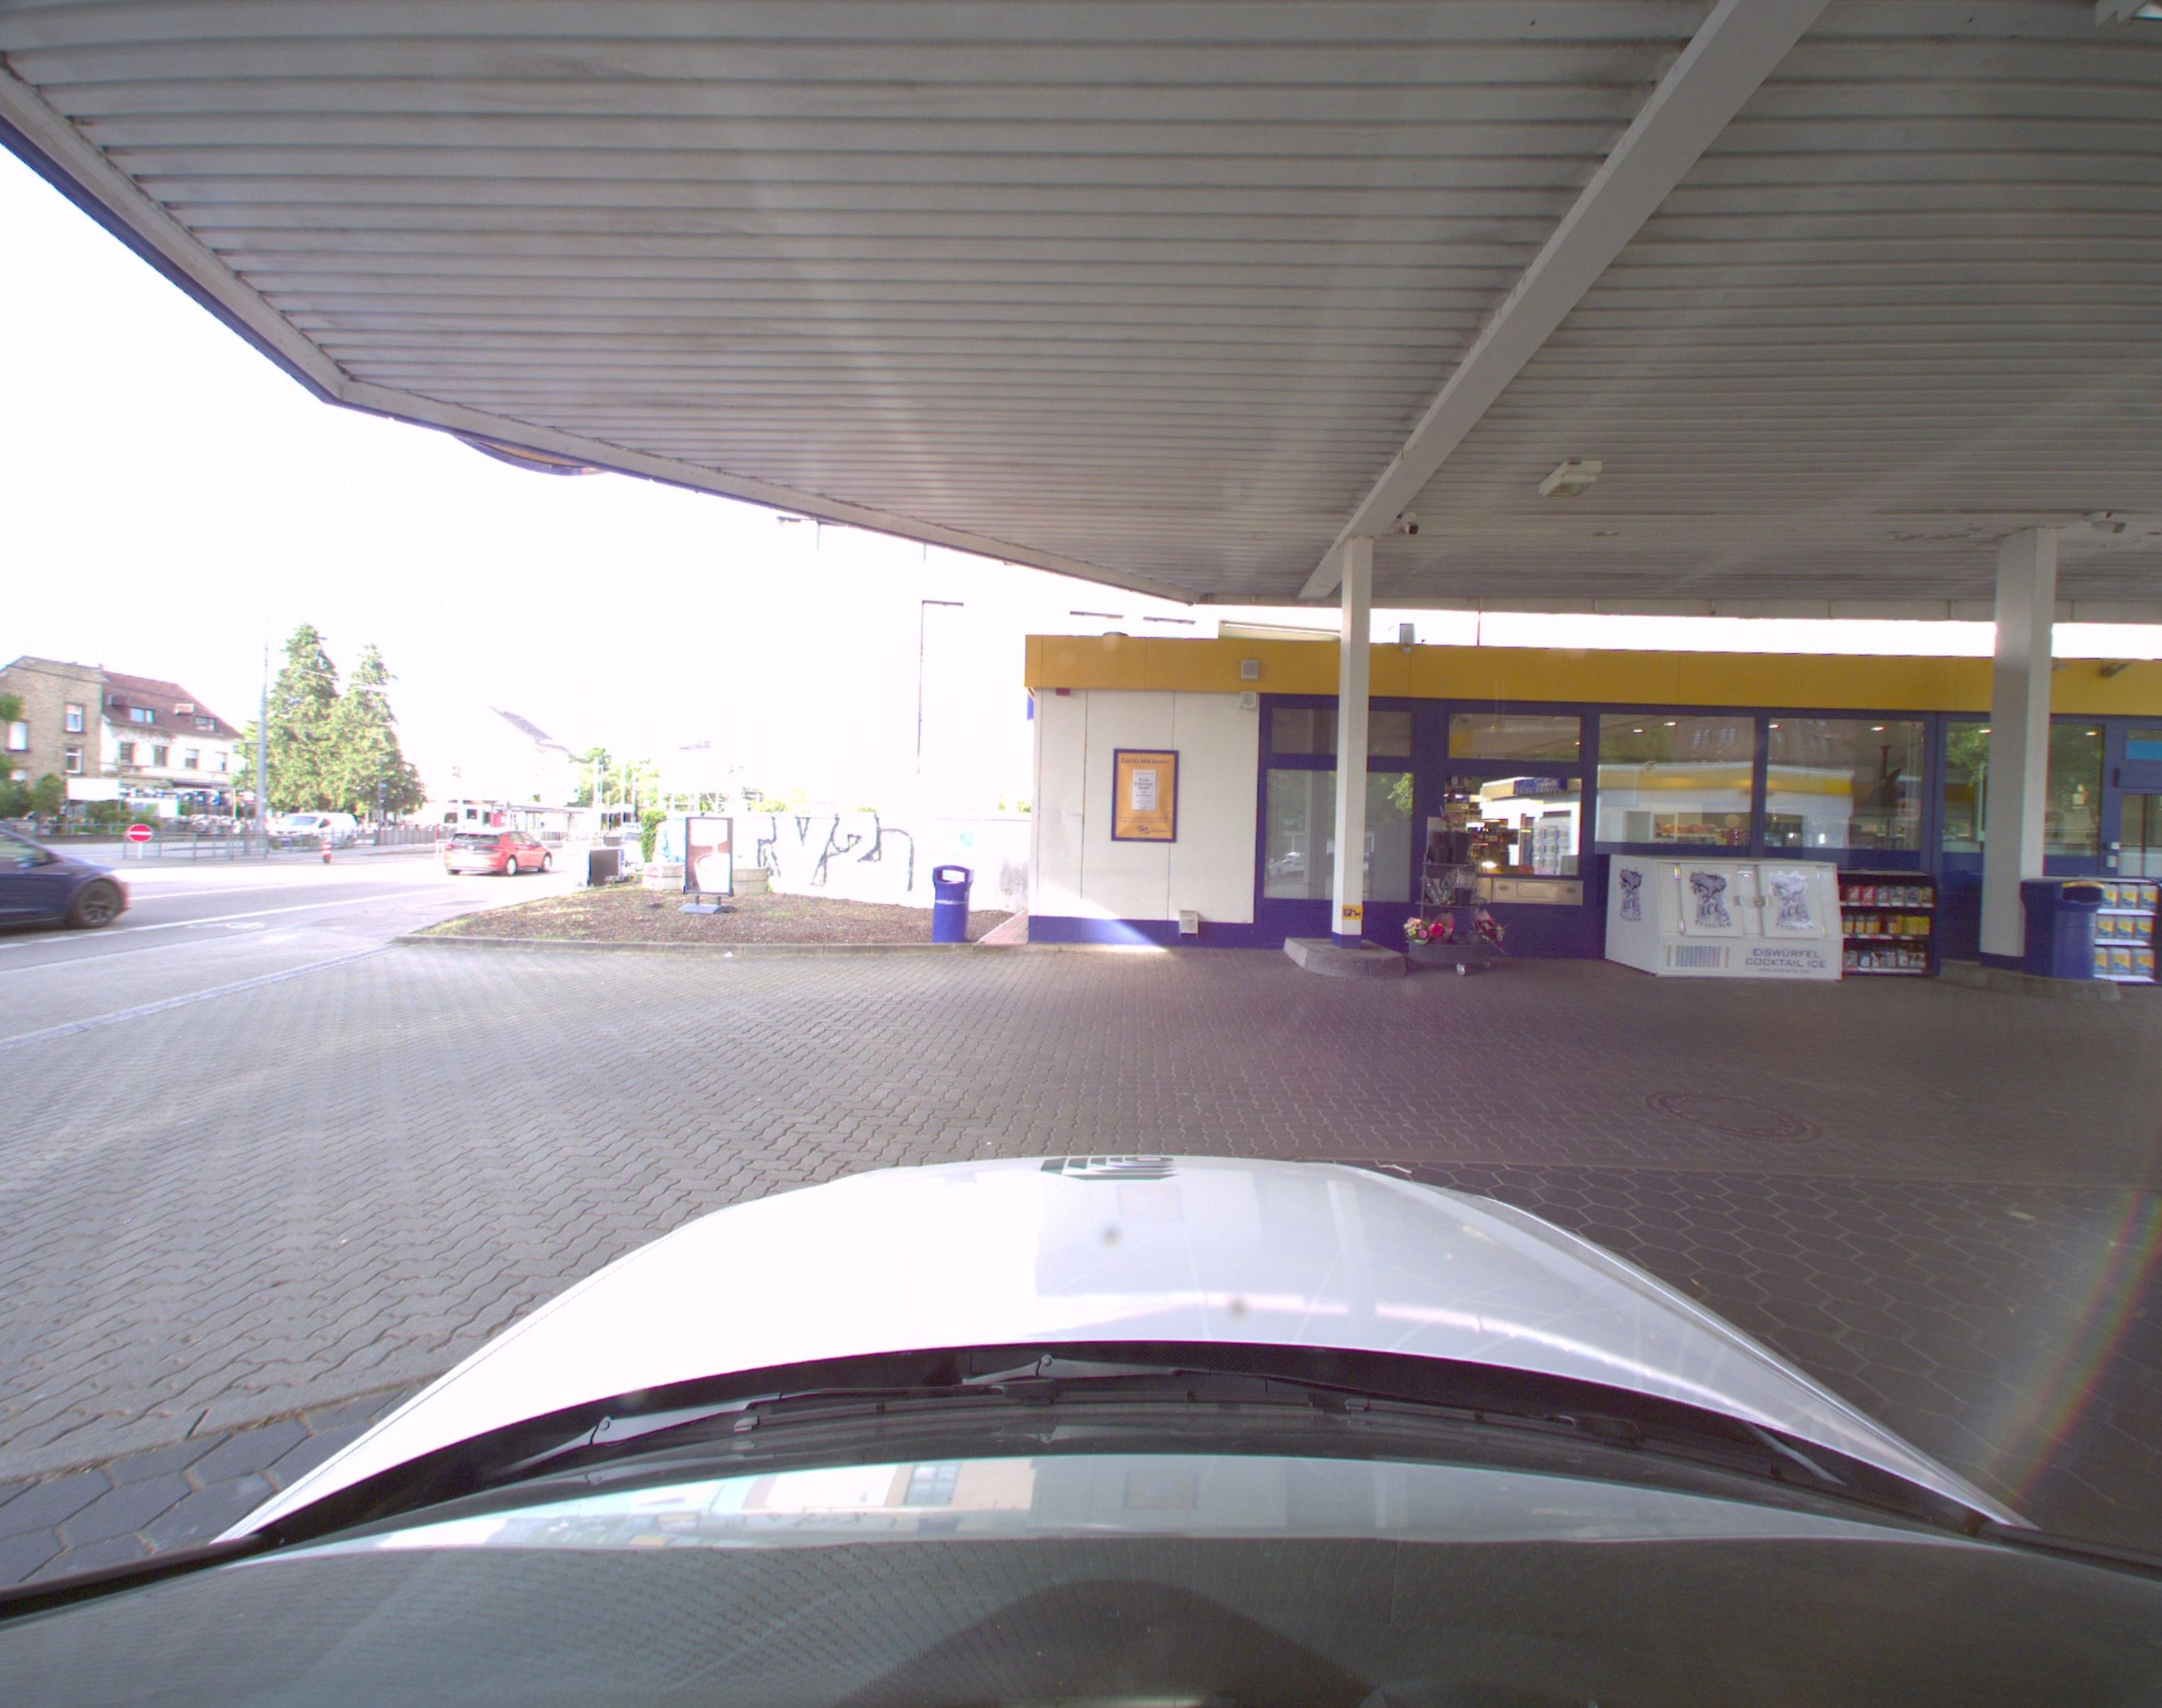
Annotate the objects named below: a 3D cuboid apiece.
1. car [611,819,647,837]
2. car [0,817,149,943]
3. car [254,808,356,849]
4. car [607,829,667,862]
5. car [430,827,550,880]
[{"bbox_3d":[-52.291,-3.002,94.271,1.992,1.968,4.876,1,1,-8],"label":"car"},{"bbox_3d":[-15.287,0.334,10.527,1.767,1.657,4.828,2,0,-14],"label":"car"},{"bbox_3d":[-39.619,-1.268,41.715,1.967,1.889,4.386,1,0,-17],"label":"car"},{"bbox_3d":[-22.981,-0.485,42.292,1.728,1.542,3.981,2,1,-15],"label":"car"},{"bbox_3d":[-19.439,-0.055,26.993,1.767,1.543,4.111,2,0,-15],"label":"car"}]
